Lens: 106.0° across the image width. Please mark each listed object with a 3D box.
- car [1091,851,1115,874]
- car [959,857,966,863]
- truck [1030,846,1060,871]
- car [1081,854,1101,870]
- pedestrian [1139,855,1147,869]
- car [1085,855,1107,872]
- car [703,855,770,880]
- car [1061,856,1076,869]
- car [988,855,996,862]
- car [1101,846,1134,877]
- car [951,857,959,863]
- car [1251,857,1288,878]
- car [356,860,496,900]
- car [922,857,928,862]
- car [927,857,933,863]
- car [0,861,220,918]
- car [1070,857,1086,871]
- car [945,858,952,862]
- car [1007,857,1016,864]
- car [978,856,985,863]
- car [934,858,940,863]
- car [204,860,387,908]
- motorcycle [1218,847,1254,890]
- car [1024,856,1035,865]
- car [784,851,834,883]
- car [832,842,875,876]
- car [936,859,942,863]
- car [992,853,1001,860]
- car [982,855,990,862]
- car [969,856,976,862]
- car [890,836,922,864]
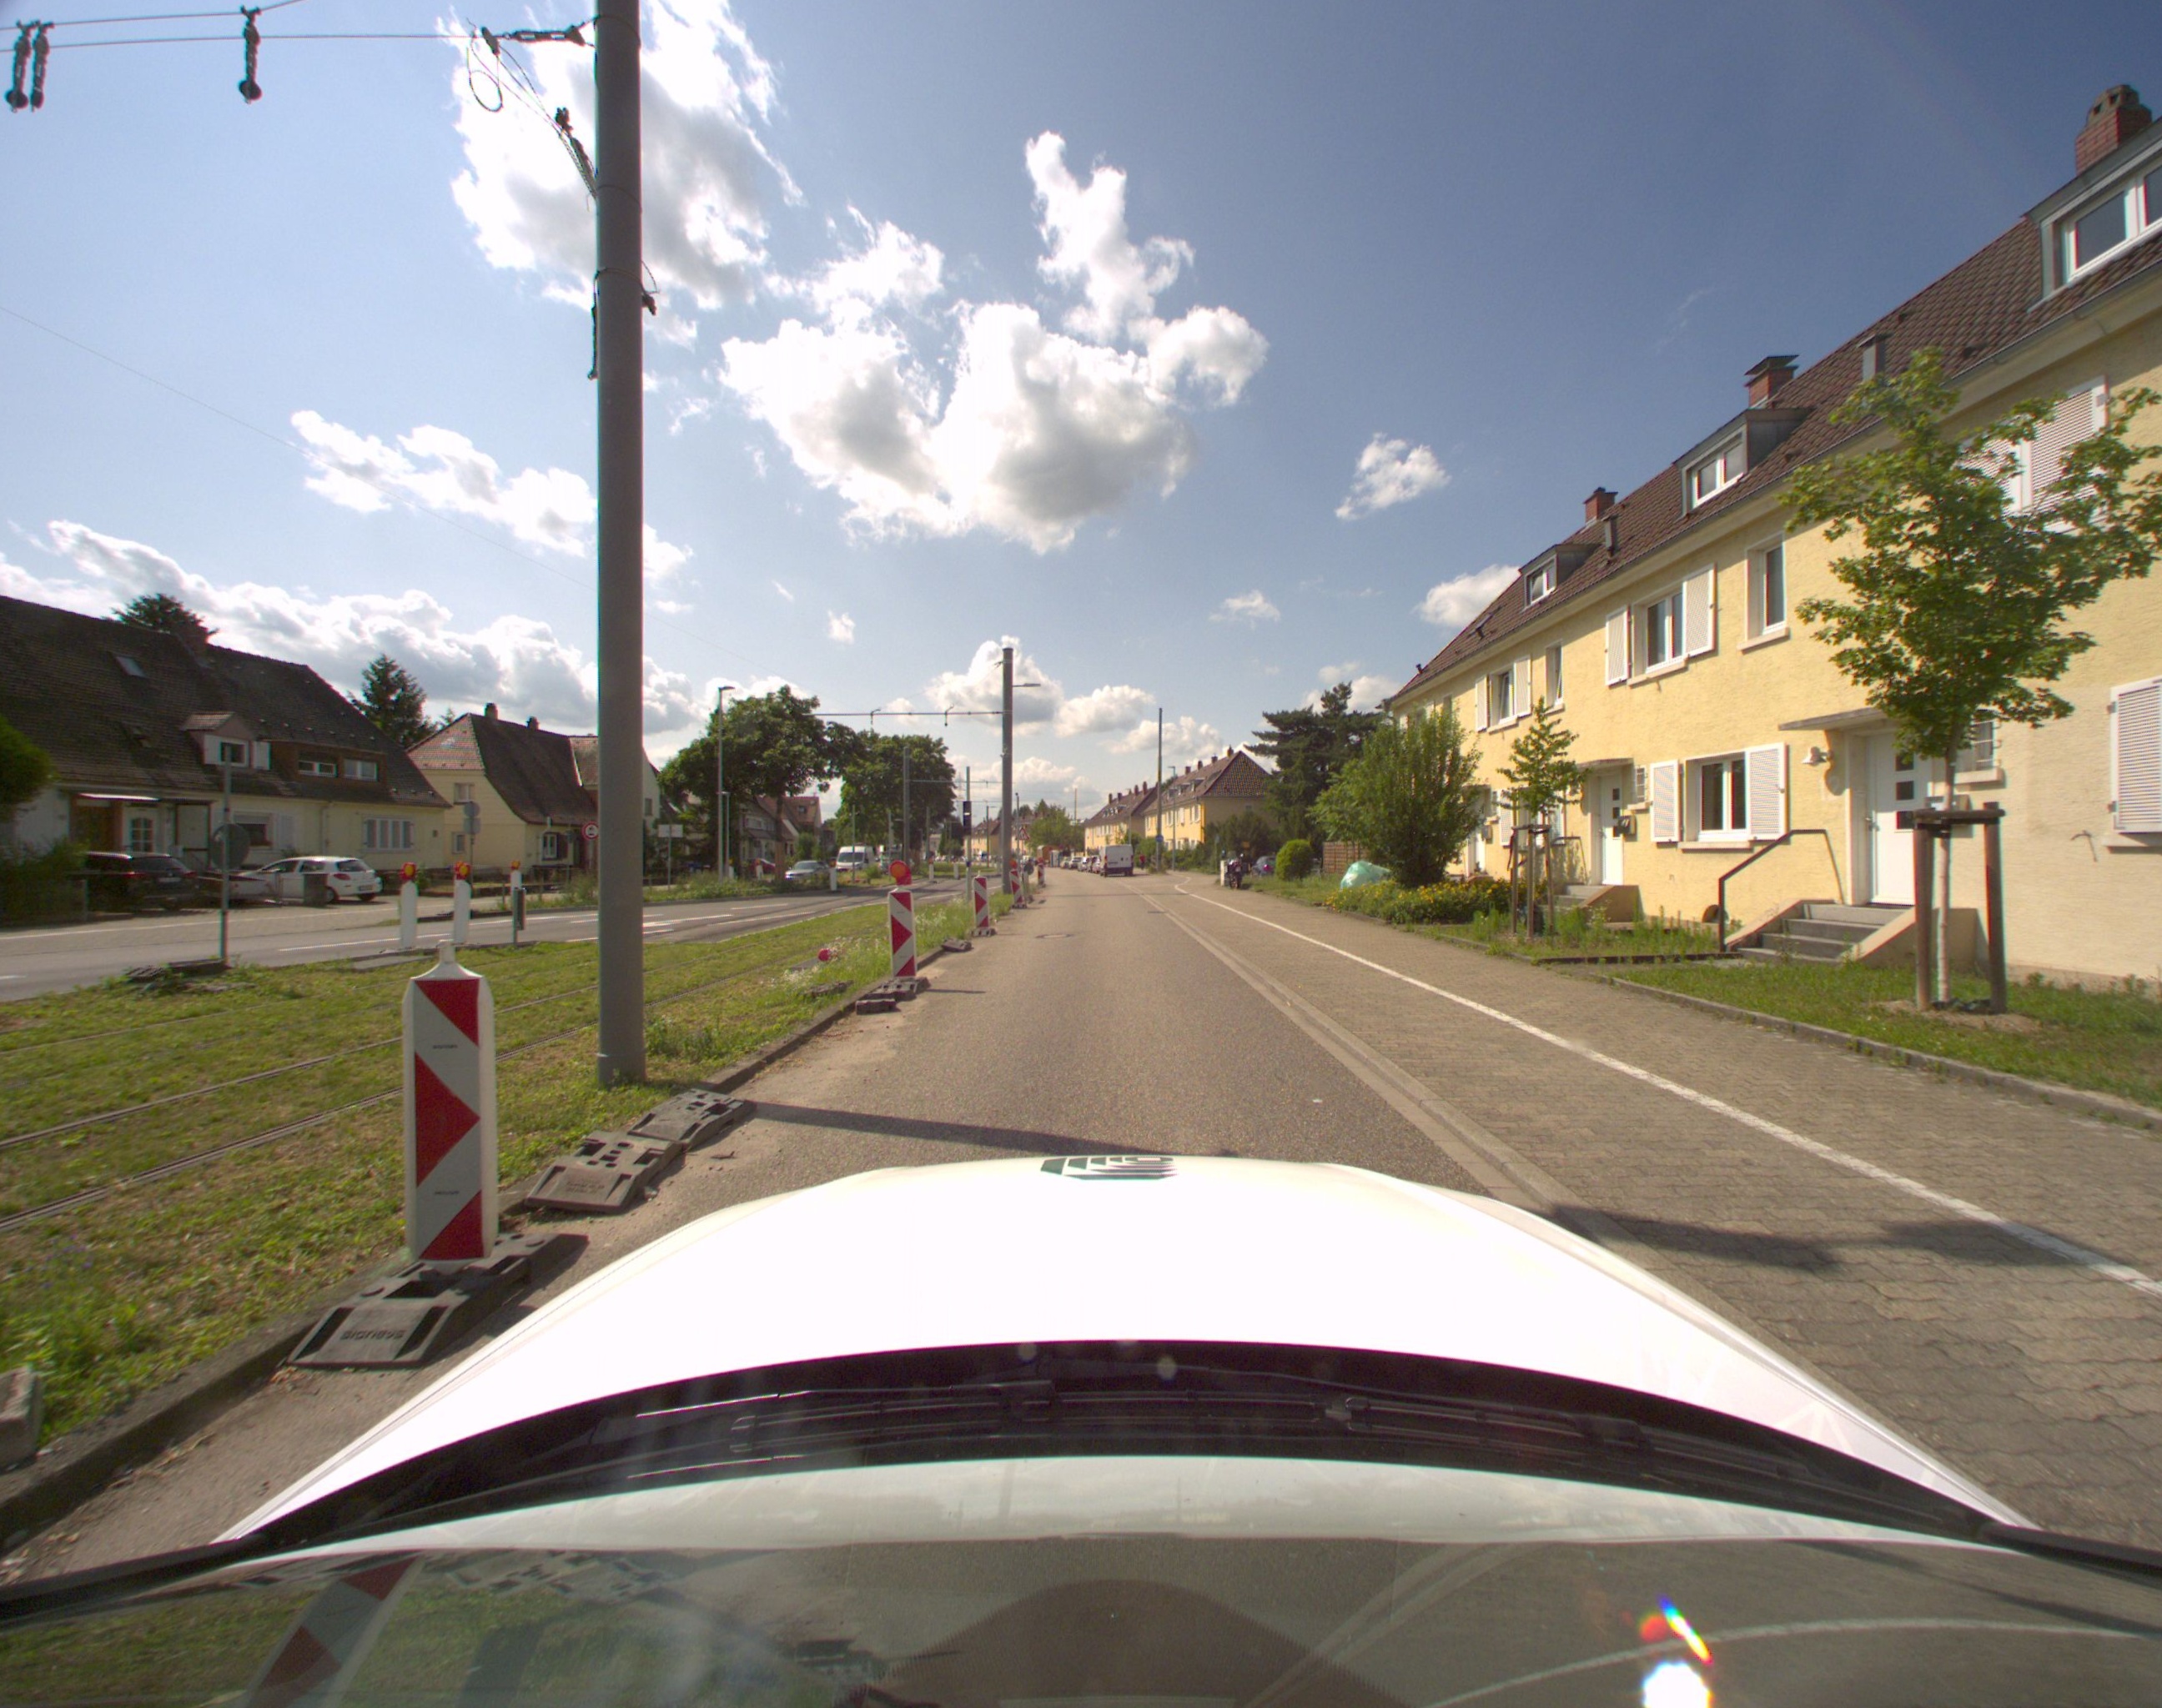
[{"bbox_3d":[1.801,0.690,67.856,1.565,1.897,3.783,-1,0,-5],"label":"car"},{"bbox_3d":[-28.533,1.471,195.822,1.262,1.426,2.646,0,0,-22],"label":"car"},{"bbox_3d":[-5.389,0.653,120.743,2.644,3.494,9.391,0,0,-14],"label":"truck"},{"bbox_3d":[0.954,0.753,78.731,1.565,1.551,3.783,0,0,-5],"label":"car"},{"bbox_3d":[5.717,0.752,75.551,0.631,1.255,0.725,0,0,-7],"label":"pedestrian"},{"bbox_3d":[1.317,0.838,73.293,1.565,1.551,3.783,-1,0,-5],"label":"car"},{"bbox_3d":[-25.700,0.984,60.939,4.096,1.776,2.099,0,0,-2],"label":"car"},{"bbox_3d":[-1.476,0.986,97.078,1.565,1.551,3.473,-1,0,-5],"label":"car"},{"bbox_3d":[-18.559,0.935,169.549,1.261,1.350,2.649,0,0,-18],"label":"car"},{"bbox_3d":[2.549,0.516,58.264,2.059,2.149,4.877,0,0,-1],"label":"car"},{"bbox_3d":[-31.355,1.516,203.000,1.264,1.426,2.643,0,0,-26],"label":"car"},{"bbox_3d":[9.651,0.665,41.826,1.307,1.029,2.769,-1,0,1],"label":"car"},{"bbox_3d":[-24.899,0.960,31.053,3.972,1.398,1.705,1,0,1],"label":"car"},{"bbox_3d":[-44.769,1.603,234.023,1.261,1.426,2.648,0,0,-19],"label":"car"},{"bbox_3d":[-42.168,1.680,227.132,1.261,1.426,2.648,0,0,-19],"label":"car"},{"bbox_3d":[-26.042,0.923,21.951,3.607,1.404,1.940,0,0,0],"label":"car"},{"bbox_3d":[-0.377,1.119,90.528,1.565,1.551,3.473,0,0,-5],"label":"car"},{"bbox_3d":[-33.876,1.510,208.644,1.262,1.142,2.646,0,0,-22],"label":"car"},{"bbox_3d":[-13.118,1.214,153.927,1.260,1.426,2.651,0,0,-16],"label":"car"},{"bbox_3d":[-21.738,1.170,178.015,1.169,1.426,2.648,0,0,-19],"label":"car"},{"bbox_3d":[-39.383,1.696,222.378,1.260,1.426,2.650,0,0,-17],"label":"car"},{"bbox_3d":[-25.651,0.953,26.701,4.092,1.466,1.992,-1,0,1],"label":"car"},{"bbox_3d":[6.081,0.550,32.116,1.062,1.635,2.084,0,0,1],"label":"motorcycle"},{"bbox_3d":[-8.407,1.100,133.134,1.259,1.426,2.652,0,0,-15],"label":"car"},{"bbox_3d":[-15.819,0.713,47.577,2.093,1.776,4.109,0,0,-8],"label":"car"},{"bbox_3d":[-16.541,0.366,59.403,2.405,2.338,4.865,0,0,-8],"label":"car"},{"bbox_3d":[-38.085,1.821,217.953,1.260,1.186,2.650,0,0,-17],"label":"car"},{"bbox_3d":[-17.264,0.564,165.647,1.261,1.350,2.649,0,0,-18],"label":"car"},{"bbox_3d":[-20.349,1.026,173.847,1.169,1.426,2.648,0,0,-19],"label":"car"},{"bbox_3d":[-25.145,1.106,188.866,1.261,1.426,2.648,0,0,-19],"label":"car"},{"bbox_3d":[-15.340,-0.359,71.505,2.405,2.370,4.866,0,0,-8],"label":"car"}]
